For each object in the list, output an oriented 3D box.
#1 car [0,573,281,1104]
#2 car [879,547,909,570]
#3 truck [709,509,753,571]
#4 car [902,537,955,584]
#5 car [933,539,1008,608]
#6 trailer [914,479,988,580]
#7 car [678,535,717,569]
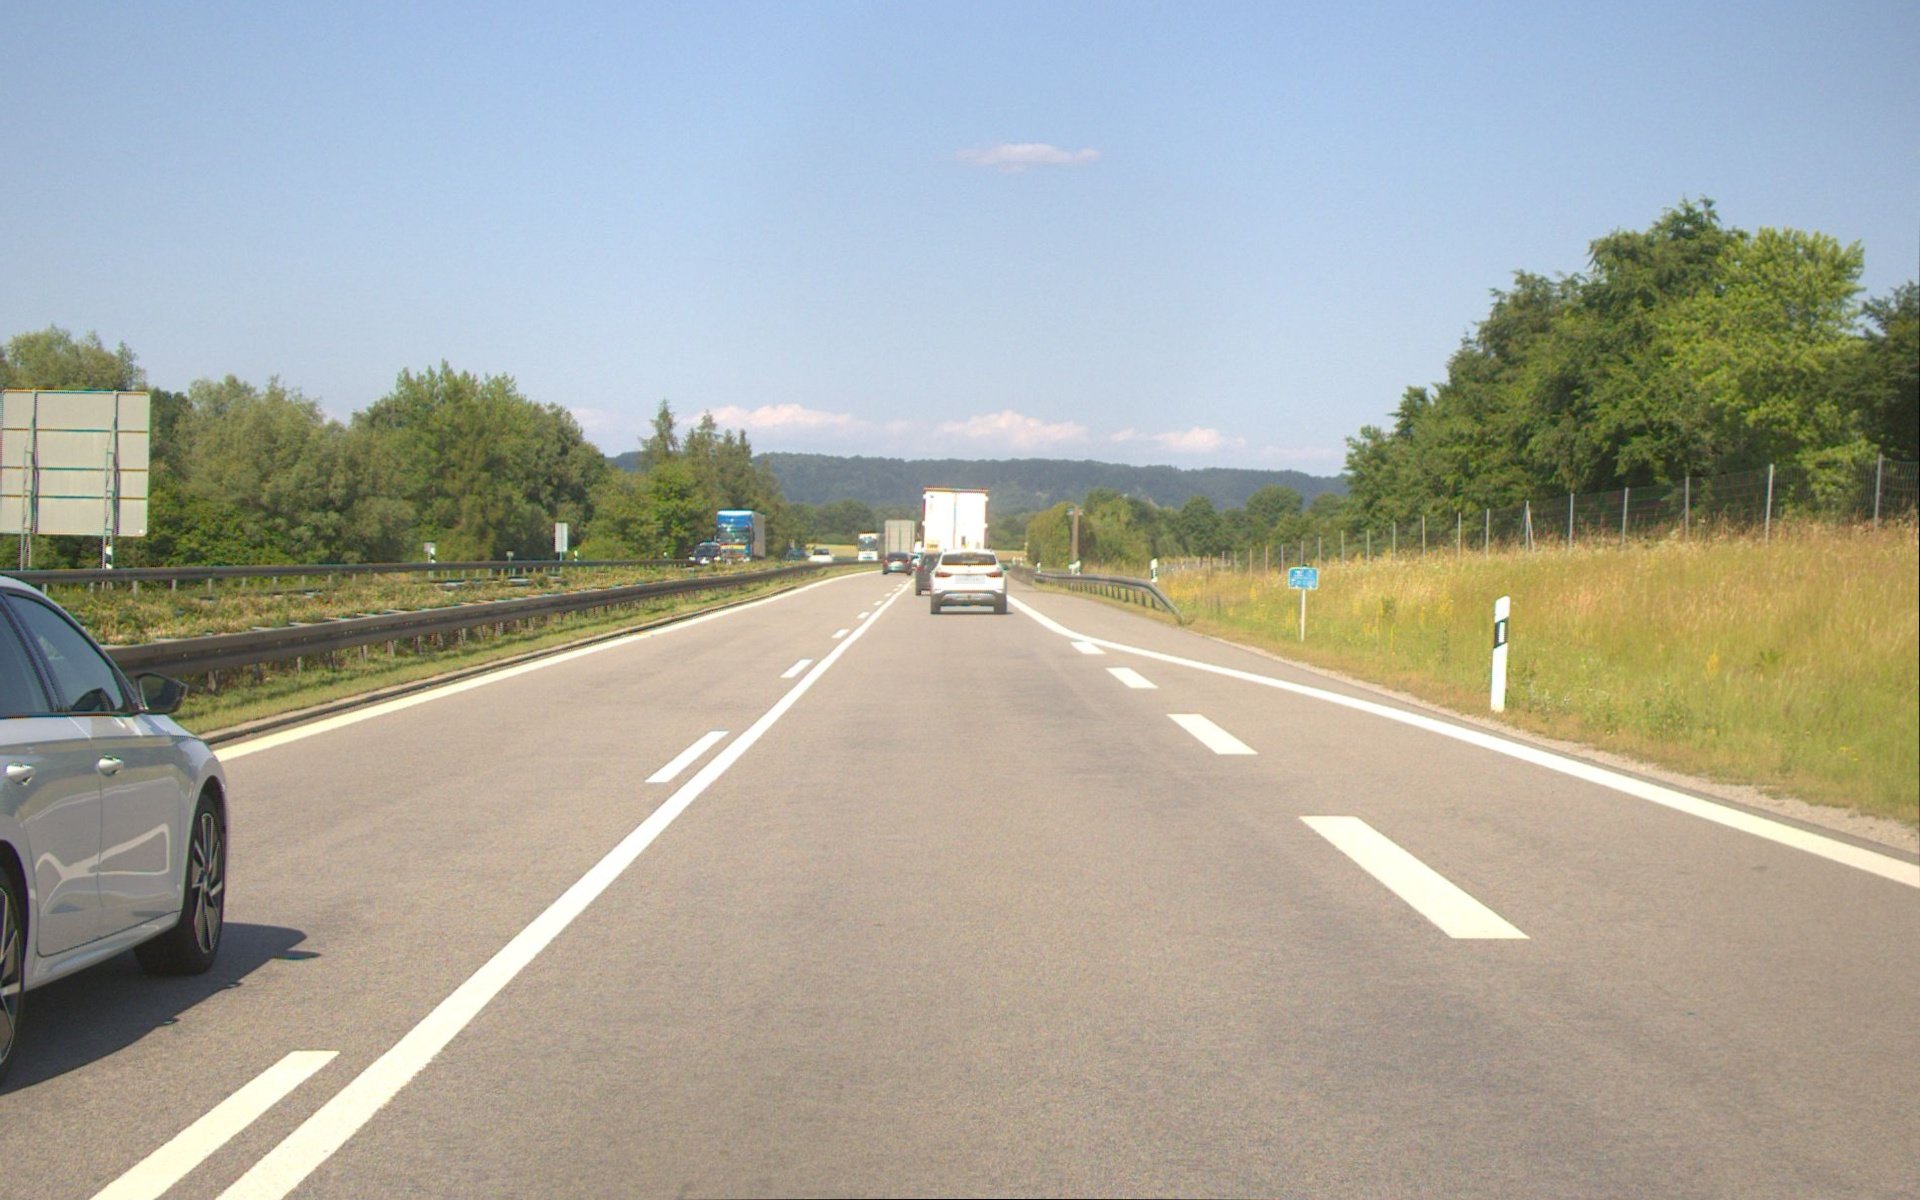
[{"bbox_3d":[-3.545,0.649,10.647,1.840,1.416,5.255,0,1,0],"label":"car"},{"bbox_3d":[-4.212,-2.669,220.406,1.771,1.416,4.495,3,1,0],"label":"car"},{"bbox_3d":[-16.064,-4.190,241.508,2.739,4.288,6.335,0,1,-1],"label":"truck"},{"bbox_3d":[-1.031,-1.304,114.054,1.665,1.449,4.544,3,1,0],"label":"car"},{"bbox_3d":[0.226,-0.648,80.804,1.684,1.491,4.987,-1,2,0],"label":"car"},{"bbox_3d":[-0.308,-2.897,143.112,2.818,3.953,14.160,1,1,1],"label":"trailer"},{"bbox_3d":[-14.957,-2.737,195.777,1.849,1.797,4.871,-1,2,0],"label":"car"}]
